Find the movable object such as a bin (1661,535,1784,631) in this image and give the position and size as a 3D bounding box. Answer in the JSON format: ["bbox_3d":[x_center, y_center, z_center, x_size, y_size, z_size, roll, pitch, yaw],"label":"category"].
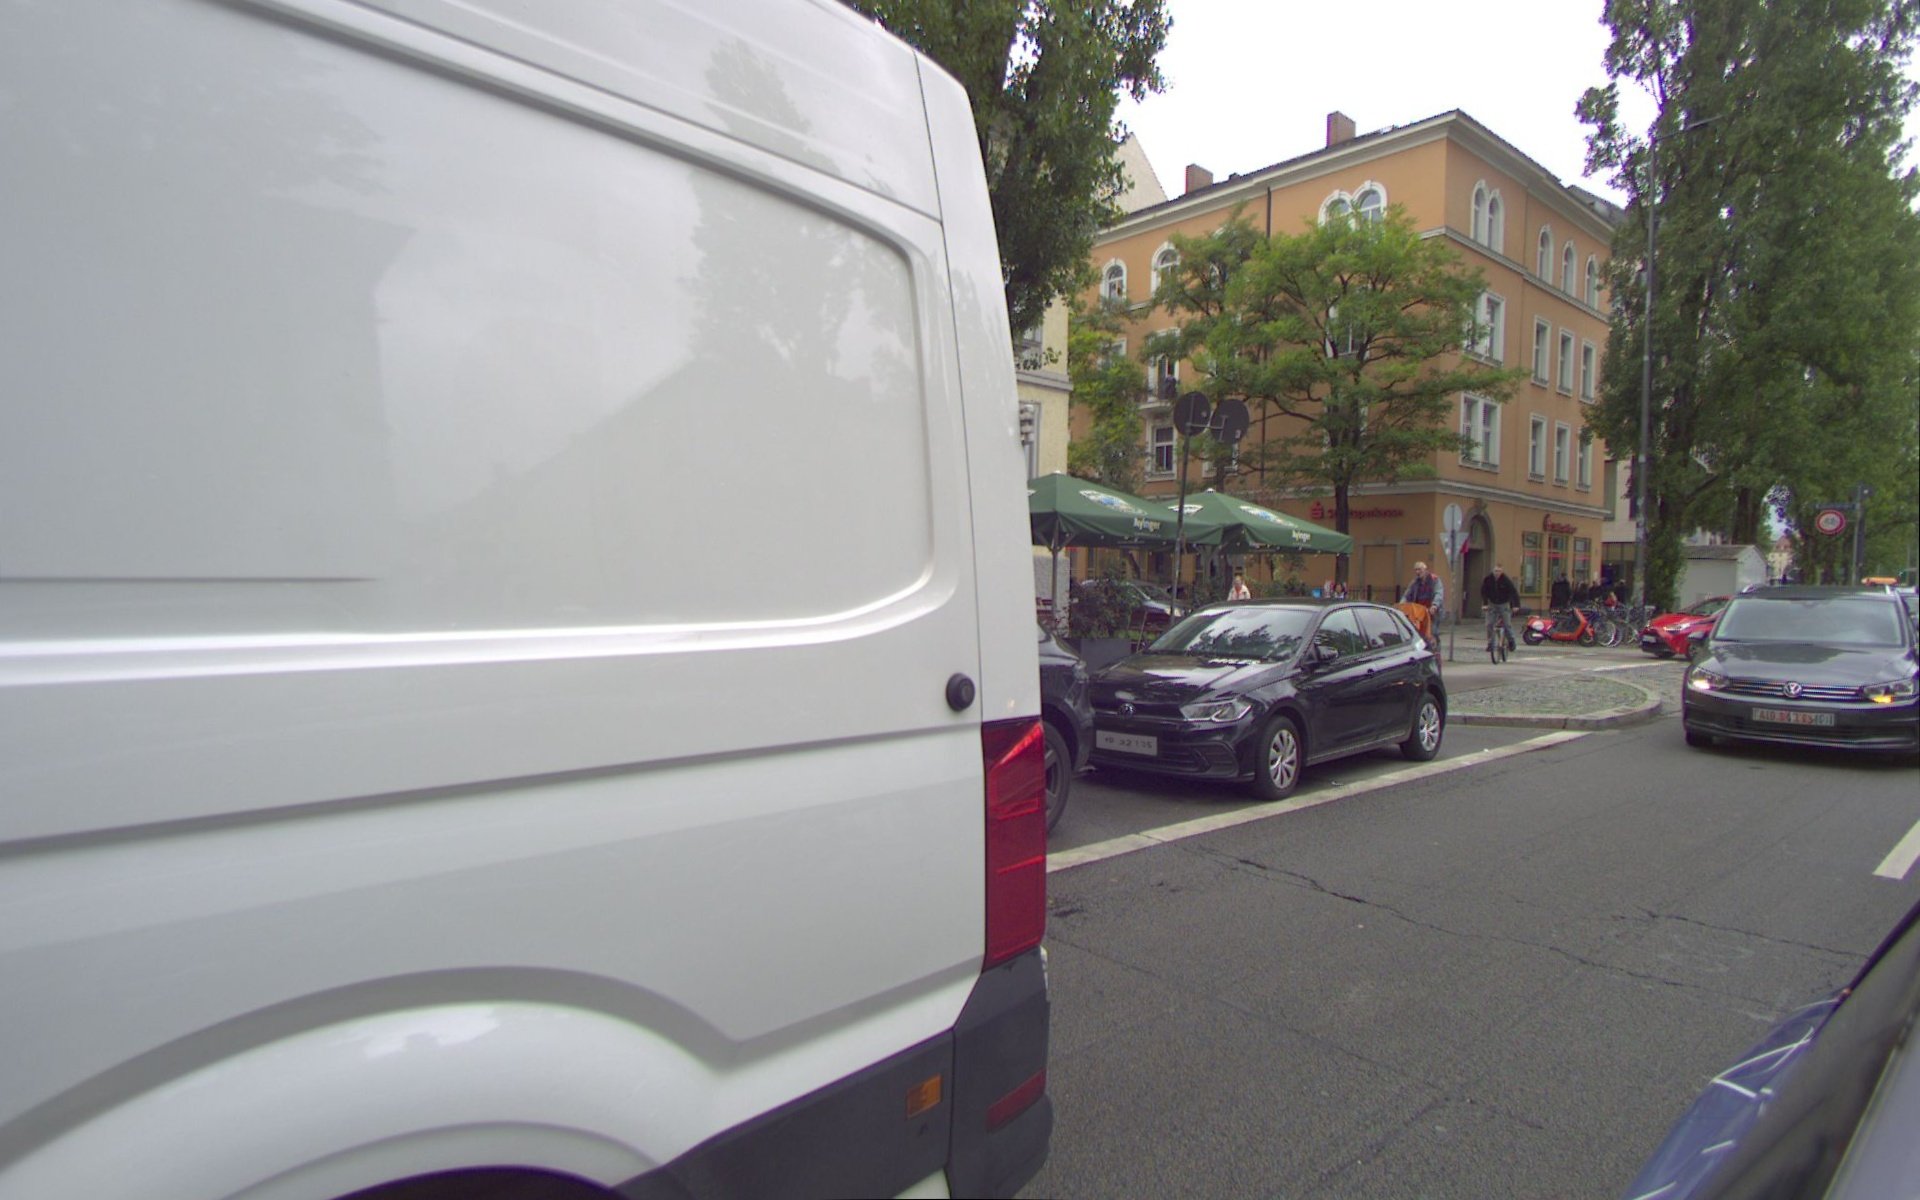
[{"bbox_3d":[27.124,-0.611,35.966,4.463,3.175,2.445,0,3,-41],"label":"movable object such as a bin"}]

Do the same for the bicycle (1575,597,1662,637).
[{"bbox_3d":[18.395,0.470,28.315,0.551,1.022,1.945,0,2,-39],"label":"bicycle"}]

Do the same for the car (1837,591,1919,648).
[{"bbox_3d":[27.624,0.523,30.096,4.421,1.572,1.787,0,1,-42],"label":"car"}]

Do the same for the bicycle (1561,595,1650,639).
[{"bbox_3d":[17.439,0.434,27.396,0.551,1.102,1.945,0,1,-39],"label":"bicycle"}]

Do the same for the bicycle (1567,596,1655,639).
[{"bbox_3d":[17.944,0.458,27.929,0.551,1.089,1.945,0,1,-39],"label":"bicycle"}]

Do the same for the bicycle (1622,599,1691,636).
[{"bbox_3d":[20.265,0.501,29.470,1.597,1.022,0.337,2,1,43],"label":"bicycle"}]

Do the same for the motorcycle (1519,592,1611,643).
[{"bbox_3d":[15.596,0.429,26.140,1.939,1.236,0.510,2,1,25],"label":"motorcycle"}]

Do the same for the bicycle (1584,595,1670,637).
[{"bbox_3d":[18.950,0.438,28.798,0.551,1.098,1.945,0,1,-39],"label":"bicycle"}]

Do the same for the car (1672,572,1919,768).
[{"bbox_3d":[8.929,0.564,10.289,4.120,1.611,1.881,0,1,-42],"label":"car"}]

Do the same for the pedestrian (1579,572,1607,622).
[{"bbox_3d":[21.807,-0.113,34.874,0.743,1.682,0.760,0,0,40],"label":"pedestrian"}]

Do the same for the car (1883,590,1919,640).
[{"bbox_3d":[33.190,0.507,34.726,4.421,1.634,1.787,0,1,-42],"label":"car"}]

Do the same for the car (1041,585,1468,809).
[{"bbox_3d":[2.632,0.623,8.557,3.884,1.434,1.696,0,1,-43],"label":"car"}]

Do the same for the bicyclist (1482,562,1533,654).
[{"bbox_3d":[10.410,0.141,19.245,0.737,1.708,0.739,2,1,35],"label":"bicyclist"}]

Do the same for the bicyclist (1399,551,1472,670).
[{"bbox_3d":[7.373,0.148,15.696,0.829,1.779,0.656,2,1,45],"label":"bicyclist"}]

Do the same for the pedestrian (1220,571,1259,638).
[{"bbox_3d":[6.690,0.099,24.194,0.564,1.590,0.699,0,0,-38],"label":"pedestrian"}]

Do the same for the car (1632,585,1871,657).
[{"bbox_3d":[16.939,0.427,21.758,3.924,1.451,1.619,0,0,-3],"label":"car"}]

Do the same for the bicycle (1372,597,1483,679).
[{"bbox_3d":[7.184,0.542,15.501,0.885,1.134,2.068,2,2,44],"label":"bicycle"}]

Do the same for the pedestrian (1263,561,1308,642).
[{"bbox_3d":[7.417,0.027,23.076,0.718,1.788,0.699,0,0,-38],"label":"pedestrian"}]

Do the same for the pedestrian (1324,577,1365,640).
[{"bbox_3d":[9.764,0.205,25.692,0.651,1.590,0.746,0,0,-38],"label":"pedestrian"}]

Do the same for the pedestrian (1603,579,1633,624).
[{"bbox_3d":[23.587,0.064,36.274,0.603,1.590,0.746,0,0,-38],"label":"pedestrian"}]

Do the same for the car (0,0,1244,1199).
[{"bbox_3d":[-2.678,0.152,0.433,6.611,2.524,2.067,0,1,-41],"label":"car"}]

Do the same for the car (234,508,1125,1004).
[{"bbox_3d":[-1.182,0.498,5.532,4.371,1.658,1.805,0,1,-42],"label":"car"}]

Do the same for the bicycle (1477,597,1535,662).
[{"bbox_3d":[10.401,0.519,19.249,0.733,1.134,2.075,2,1,35],"label":"bicycle"}]

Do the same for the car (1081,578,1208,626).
[{"bbox_3d":[6.251,0.050,34.603,1.873,1.539,3.993,-1,1,-41],"label":"car"}]

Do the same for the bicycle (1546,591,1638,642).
[{"bbox_3d":[16.528,0.413,26.506,0.551,1.255,1.945,0,1,-39],"label":"bicycle"}]

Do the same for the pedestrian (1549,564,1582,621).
[{"bbox_3d":[21.085,-0.261,35.227,0.837,1.973,0.790,0,0,42],"label":"pedestrian"}]

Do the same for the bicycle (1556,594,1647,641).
[{"bbox_3d":[17.023,0.433,26.898,0.551,1.151,1.945,0,1,-39],"label":"bicycle"}]

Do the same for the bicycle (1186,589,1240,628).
[{"bbox_3d":[9.237,0.300,36.995,0.551,1.389,1.945,0,0,-39],"label":"bicycle"}]
